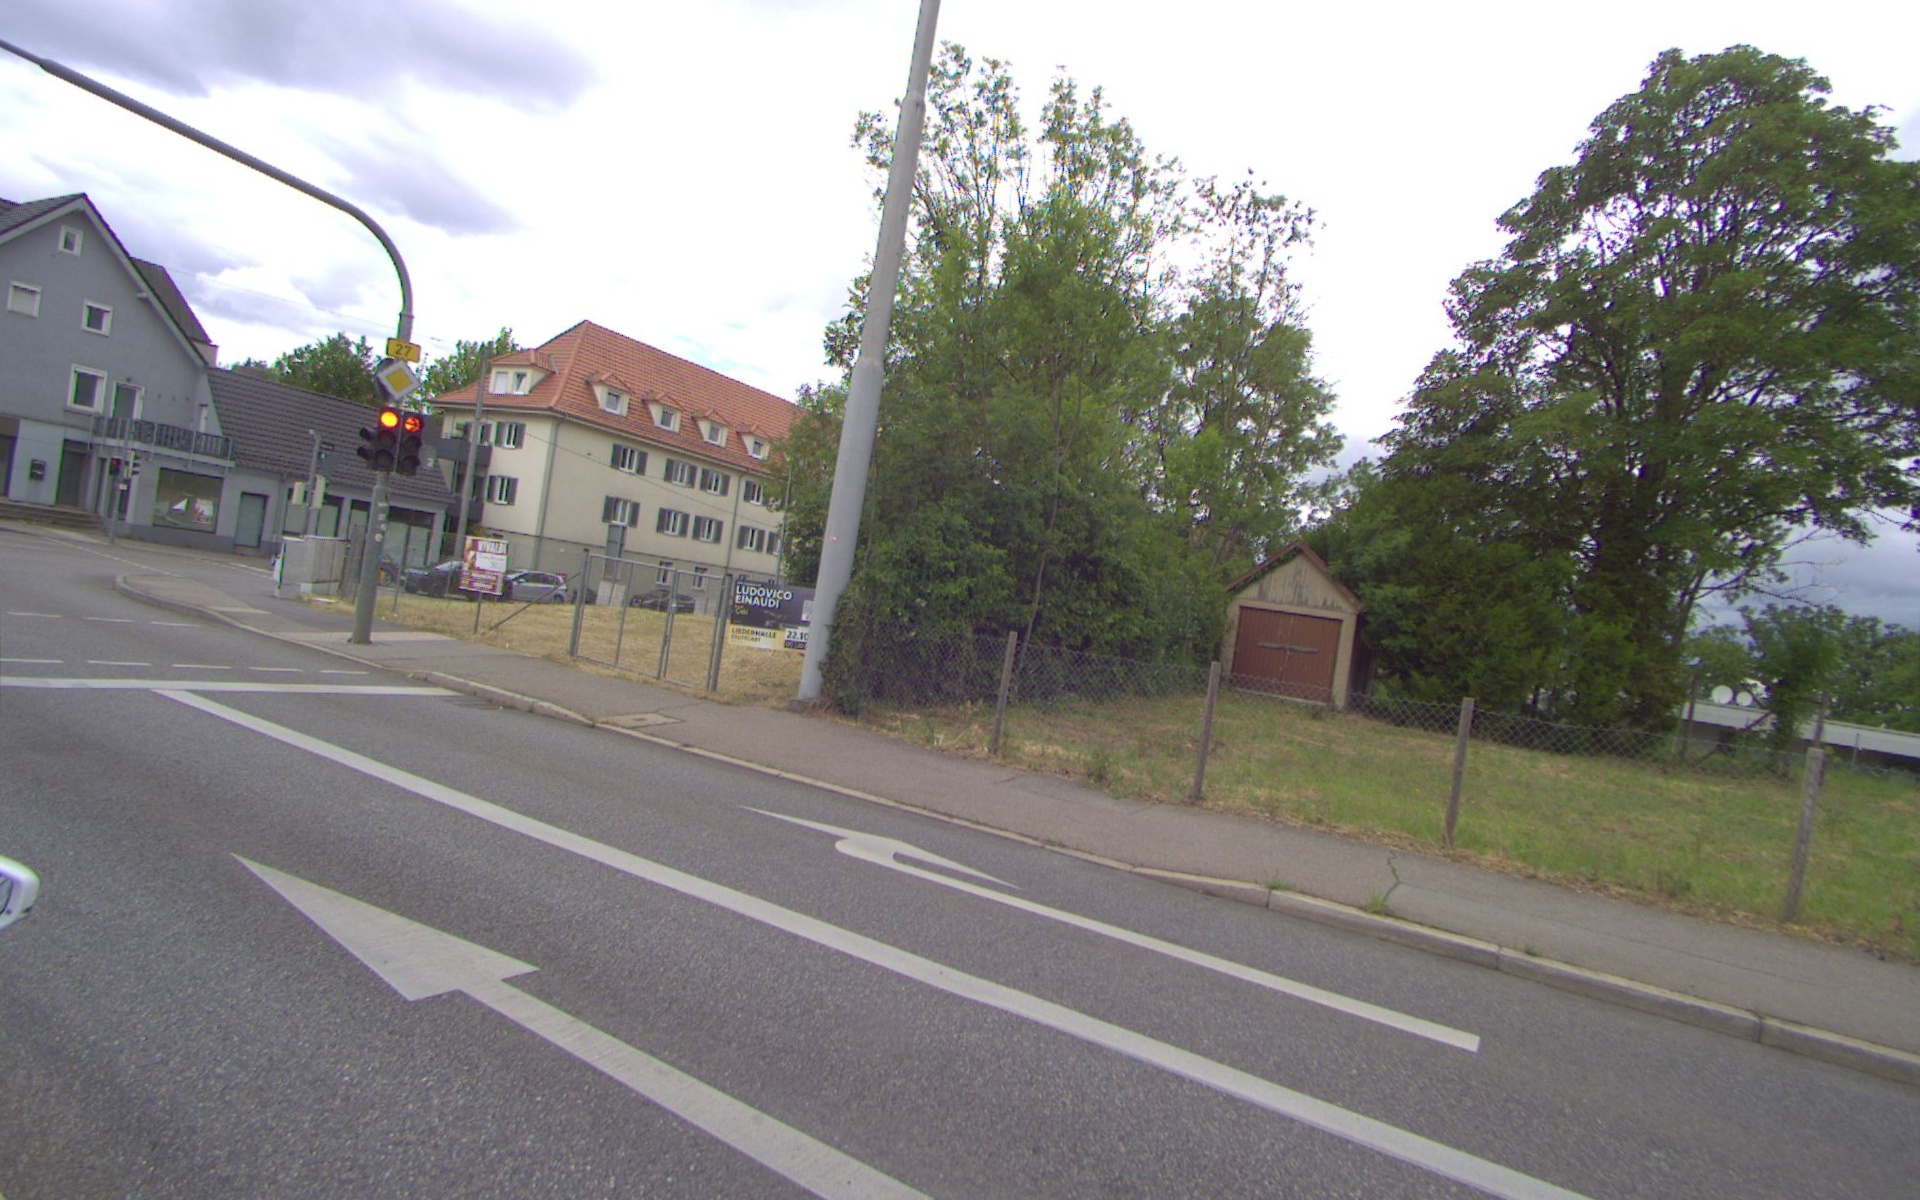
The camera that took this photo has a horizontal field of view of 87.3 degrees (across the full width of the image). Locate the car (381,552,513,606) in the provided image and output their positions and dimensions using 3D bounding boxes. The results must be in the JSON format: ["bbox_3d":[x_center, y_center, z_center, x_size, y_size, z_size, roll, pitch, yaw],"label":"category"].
[{"bbox_3d":[-19.740,-0.782,38.868,1.769,1.386,4.100,7,-3,31],"label":"car"}]

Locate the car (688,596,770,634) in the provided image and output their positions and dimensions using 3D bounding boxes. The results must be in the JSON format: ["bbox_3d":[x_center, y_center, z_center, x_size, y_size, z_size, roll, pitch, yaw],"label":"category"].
[{"bbox_3d":[-12.098,0.832,52.882,1.769,1.386,4.100,7,-3,31],"label":"car"}]

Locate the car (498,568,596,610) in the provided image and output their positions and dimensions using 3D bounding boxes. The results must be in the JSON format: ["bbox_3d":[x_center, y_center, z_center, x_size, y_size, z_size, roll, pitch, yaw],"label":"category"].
[{"bbox_3d":[-20.224,-0.510,49.466,1.769,1.386,4.100,7,-3,31],"label":"car"}]

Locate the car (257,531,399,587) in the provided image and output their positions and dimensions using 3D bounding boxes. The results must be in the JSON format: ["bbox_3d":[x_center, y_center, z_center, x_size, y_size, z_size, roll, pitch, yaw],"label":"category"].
[{"bbox_3d":[-23.982,-1.531,38.320,1.769,1.386,4.100,7,-3,31],"label":"car"}]
